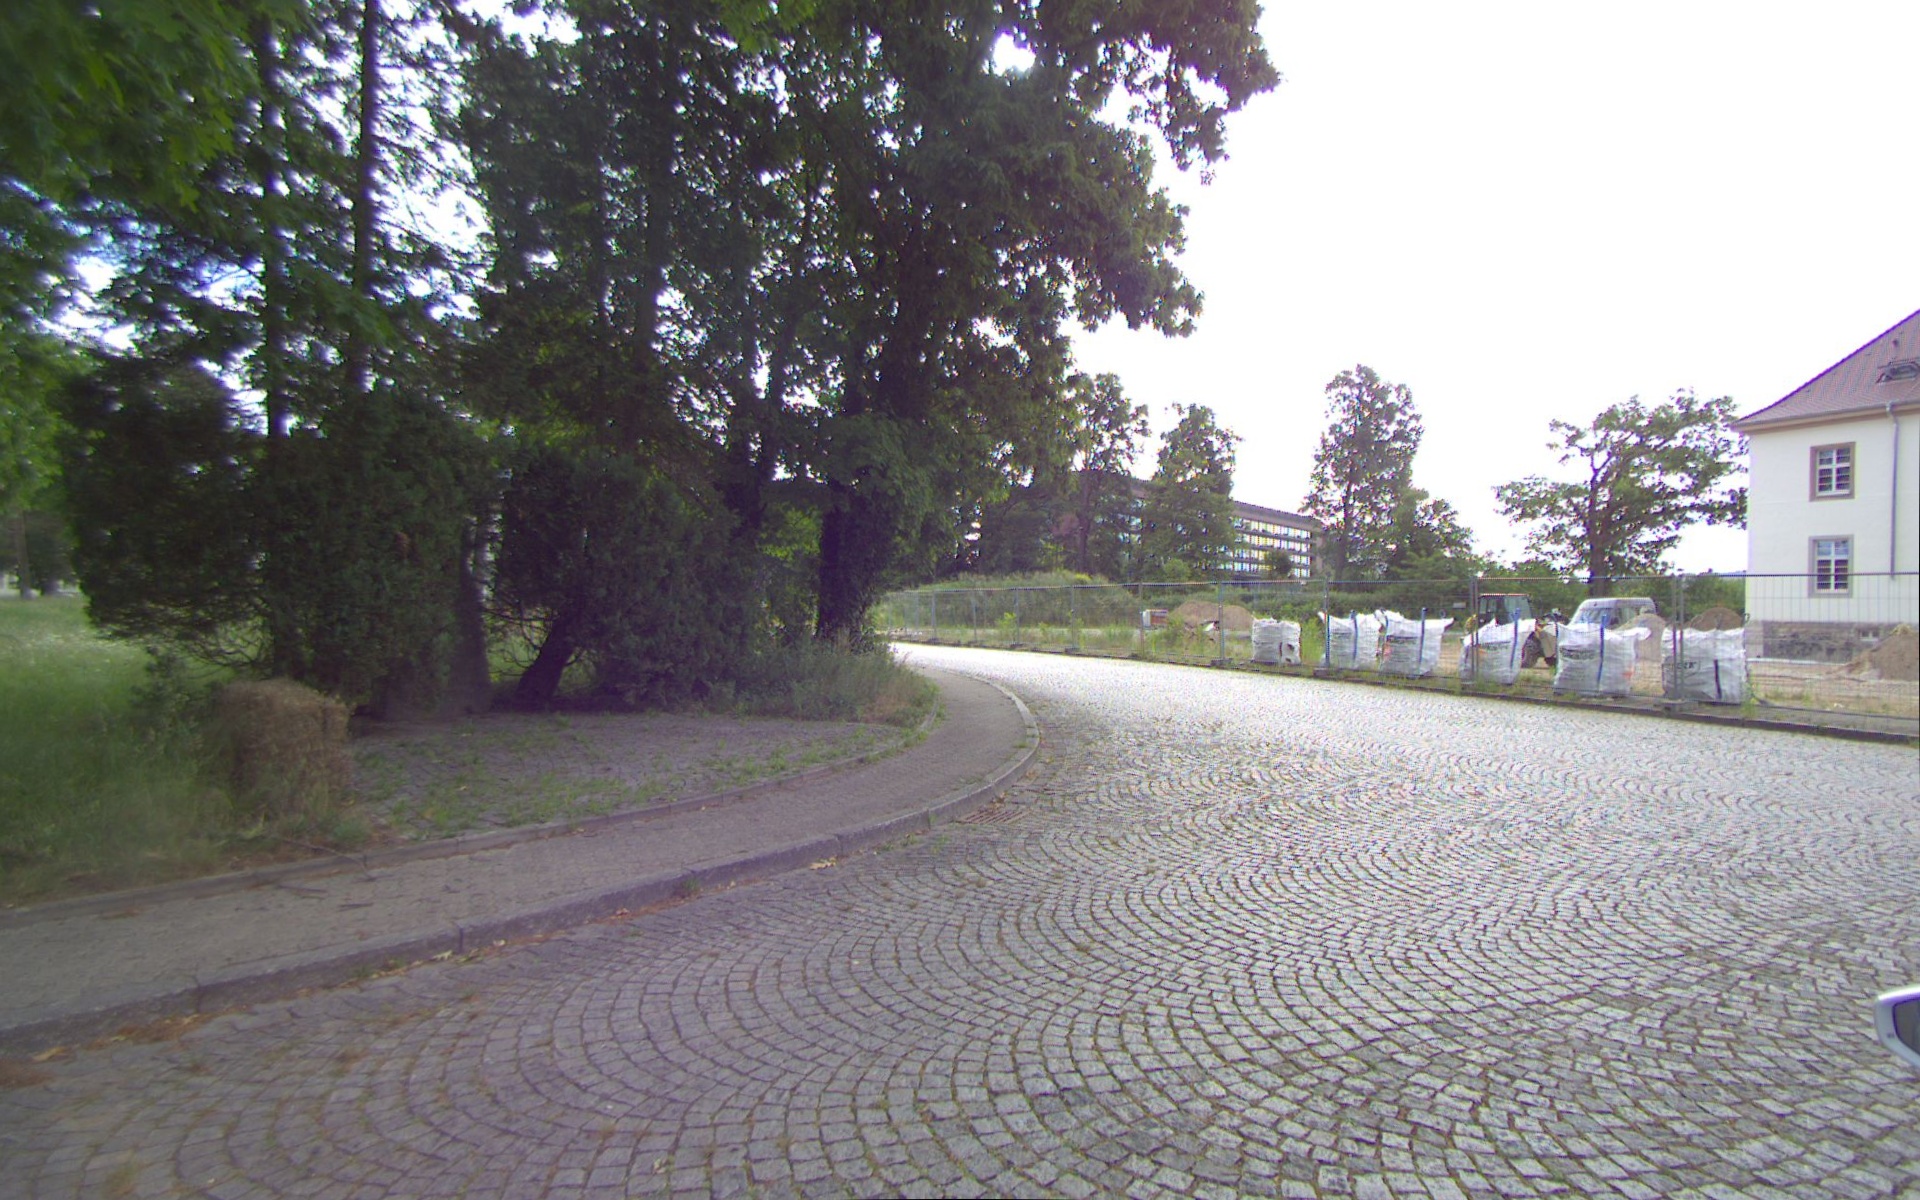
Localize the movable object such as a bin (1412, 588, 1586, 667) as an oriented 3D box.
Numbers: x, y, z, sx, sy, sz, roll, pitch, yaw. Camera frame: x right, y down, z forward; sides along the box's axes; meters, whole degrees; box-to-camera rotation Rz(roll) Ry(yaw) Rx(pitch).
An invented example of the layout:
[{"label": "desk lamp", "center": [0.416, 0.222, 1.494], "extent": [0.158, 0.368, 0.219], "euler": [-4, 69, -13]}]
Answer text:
[{"label": "movable object such as a bin", "center": [19.072, 0.909, 35.841], "extent": [1.974, 2.590, 5.310], "euler": [1, 0, -26]}]

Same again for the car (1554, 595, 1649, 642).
[{"label": "car", "center": [31.201, 0.904, 48.835], "extent": [4.845, 2.179, 2.056], "euler": [1, 0, -32]}]
